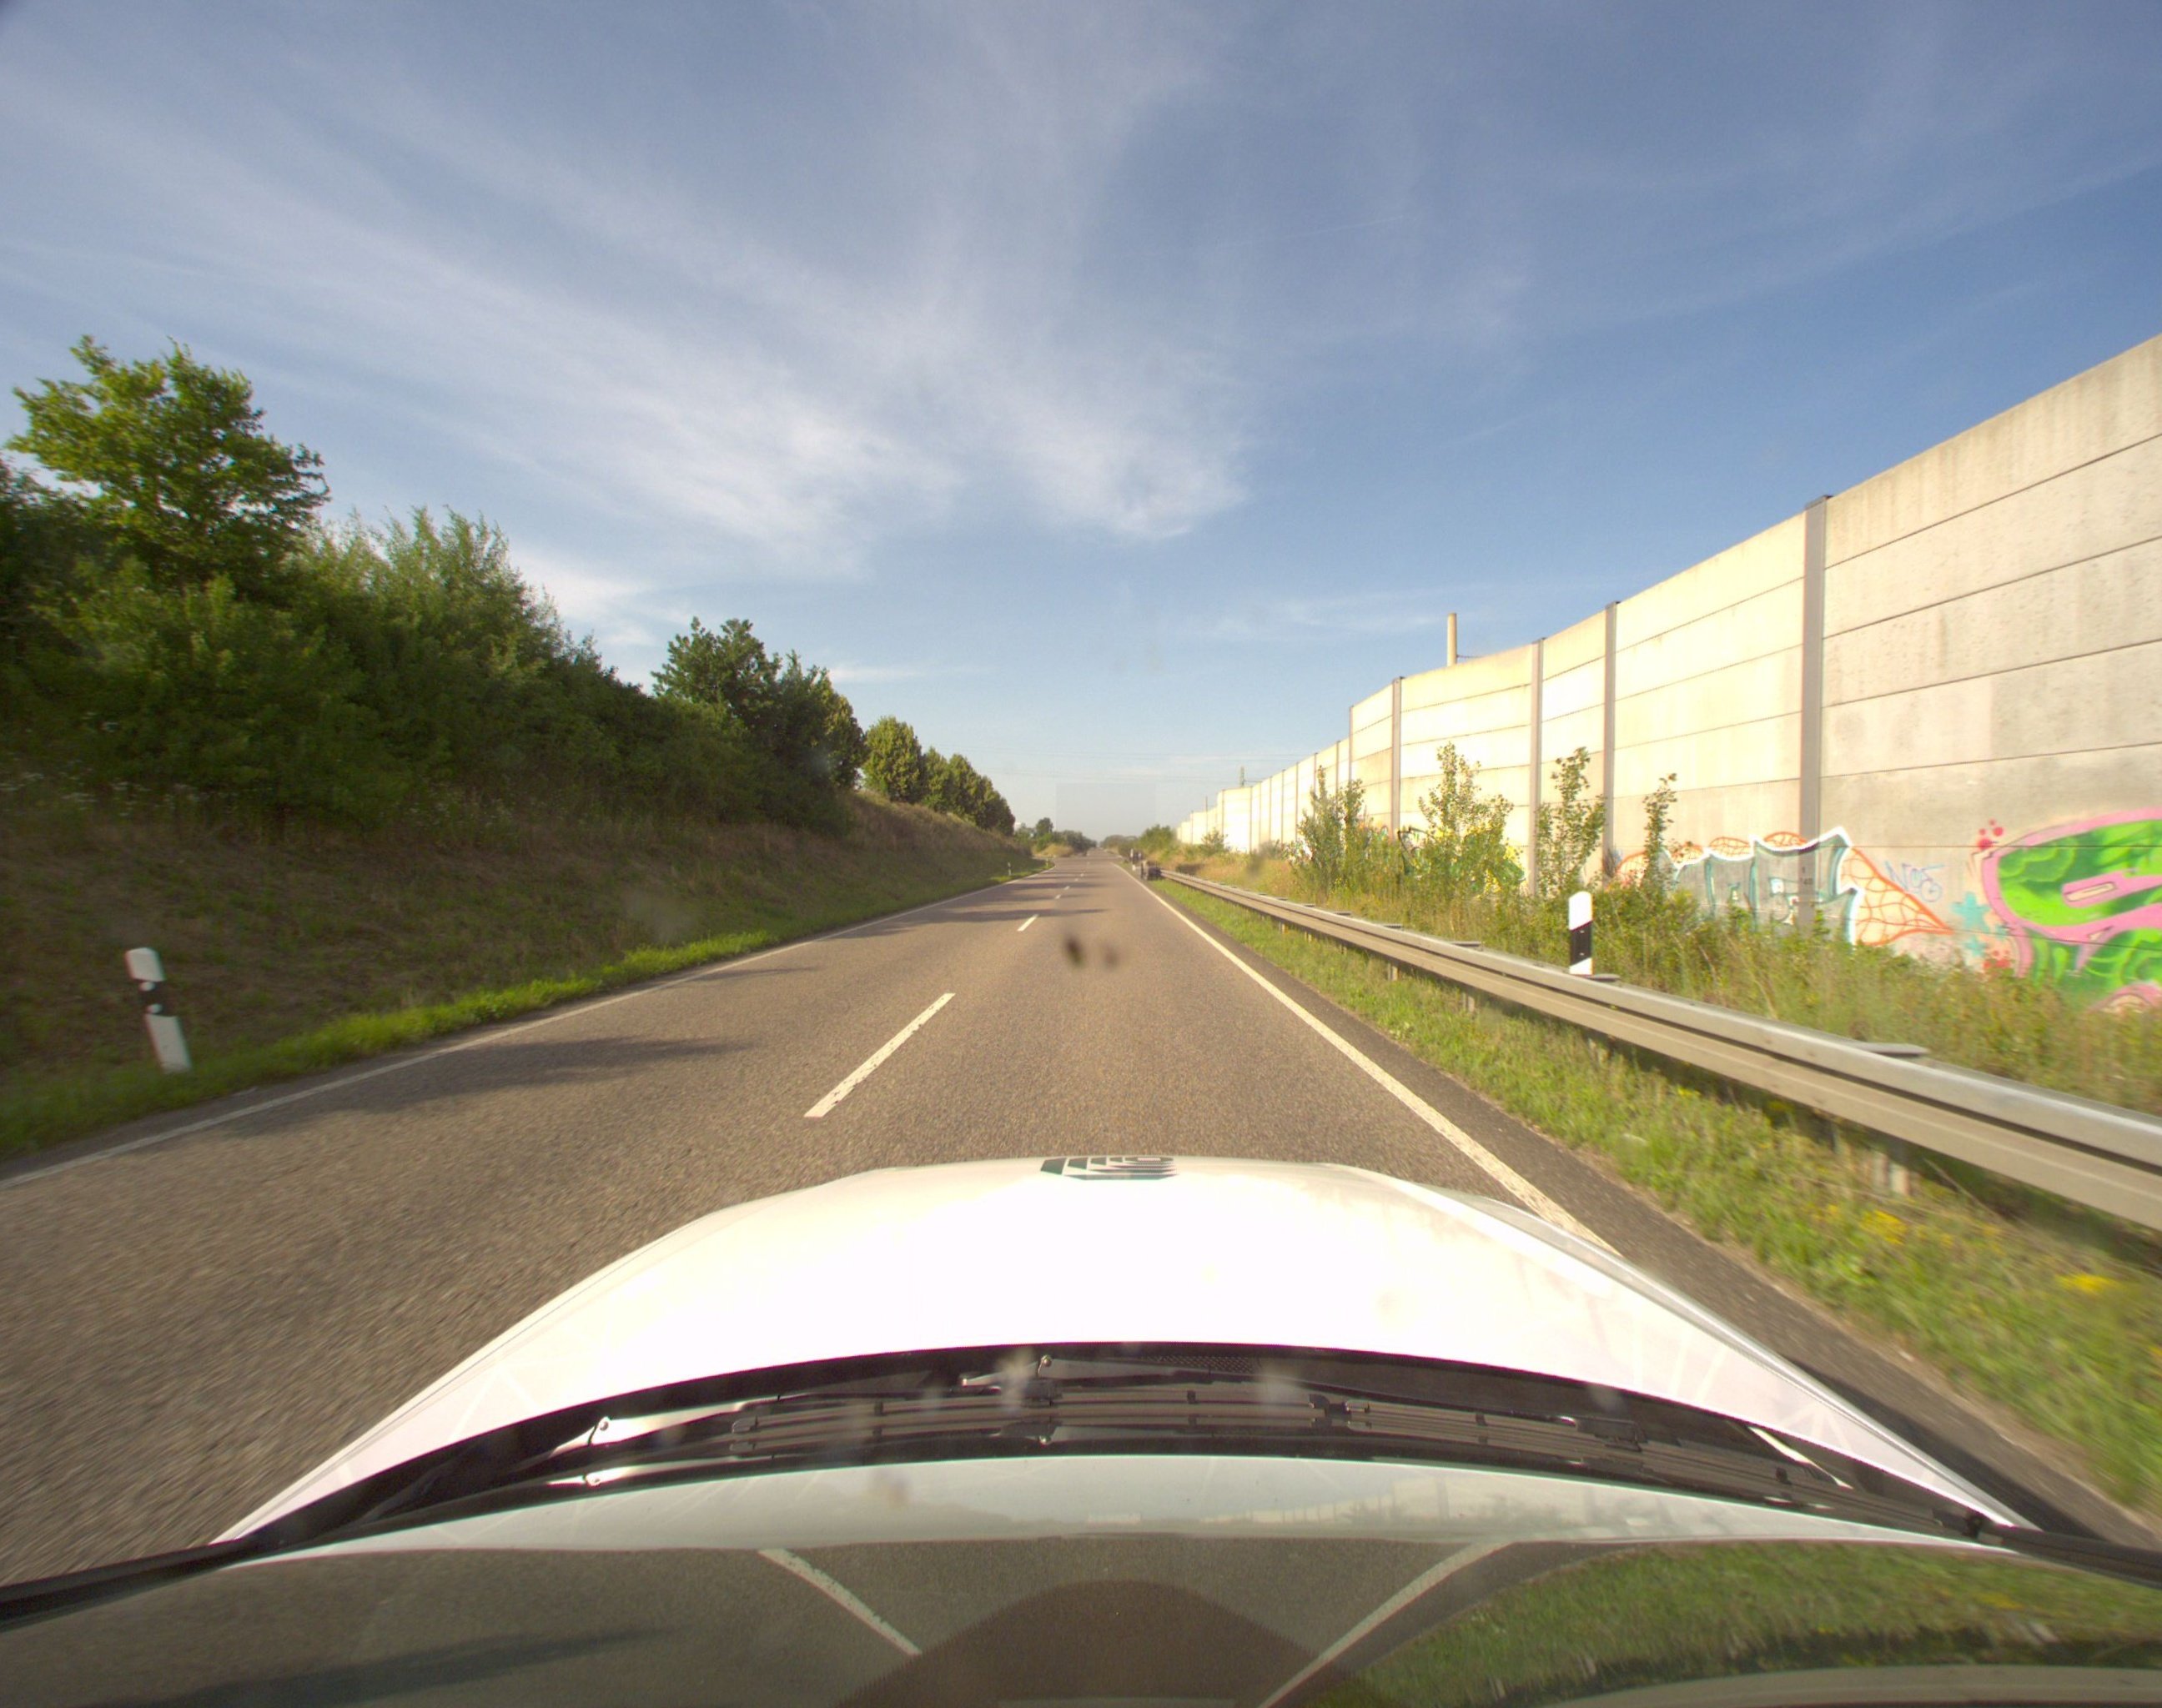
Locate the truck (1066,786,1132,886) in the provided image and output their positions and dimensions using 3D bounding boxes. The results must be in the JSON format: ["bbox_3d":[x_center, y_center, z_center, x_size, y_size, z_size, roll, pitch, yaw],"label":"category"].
[{"bbox_3d":[0.929,-0.968,47.480,3.280,5.090,12.036,-1,0,0],"label":"truck"}]

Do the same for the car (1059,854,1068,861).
[{"bbox_3d":[-4.533,0.877,206.847,2.038,1.581,4.361,0,0,2],"label":"car"}]
